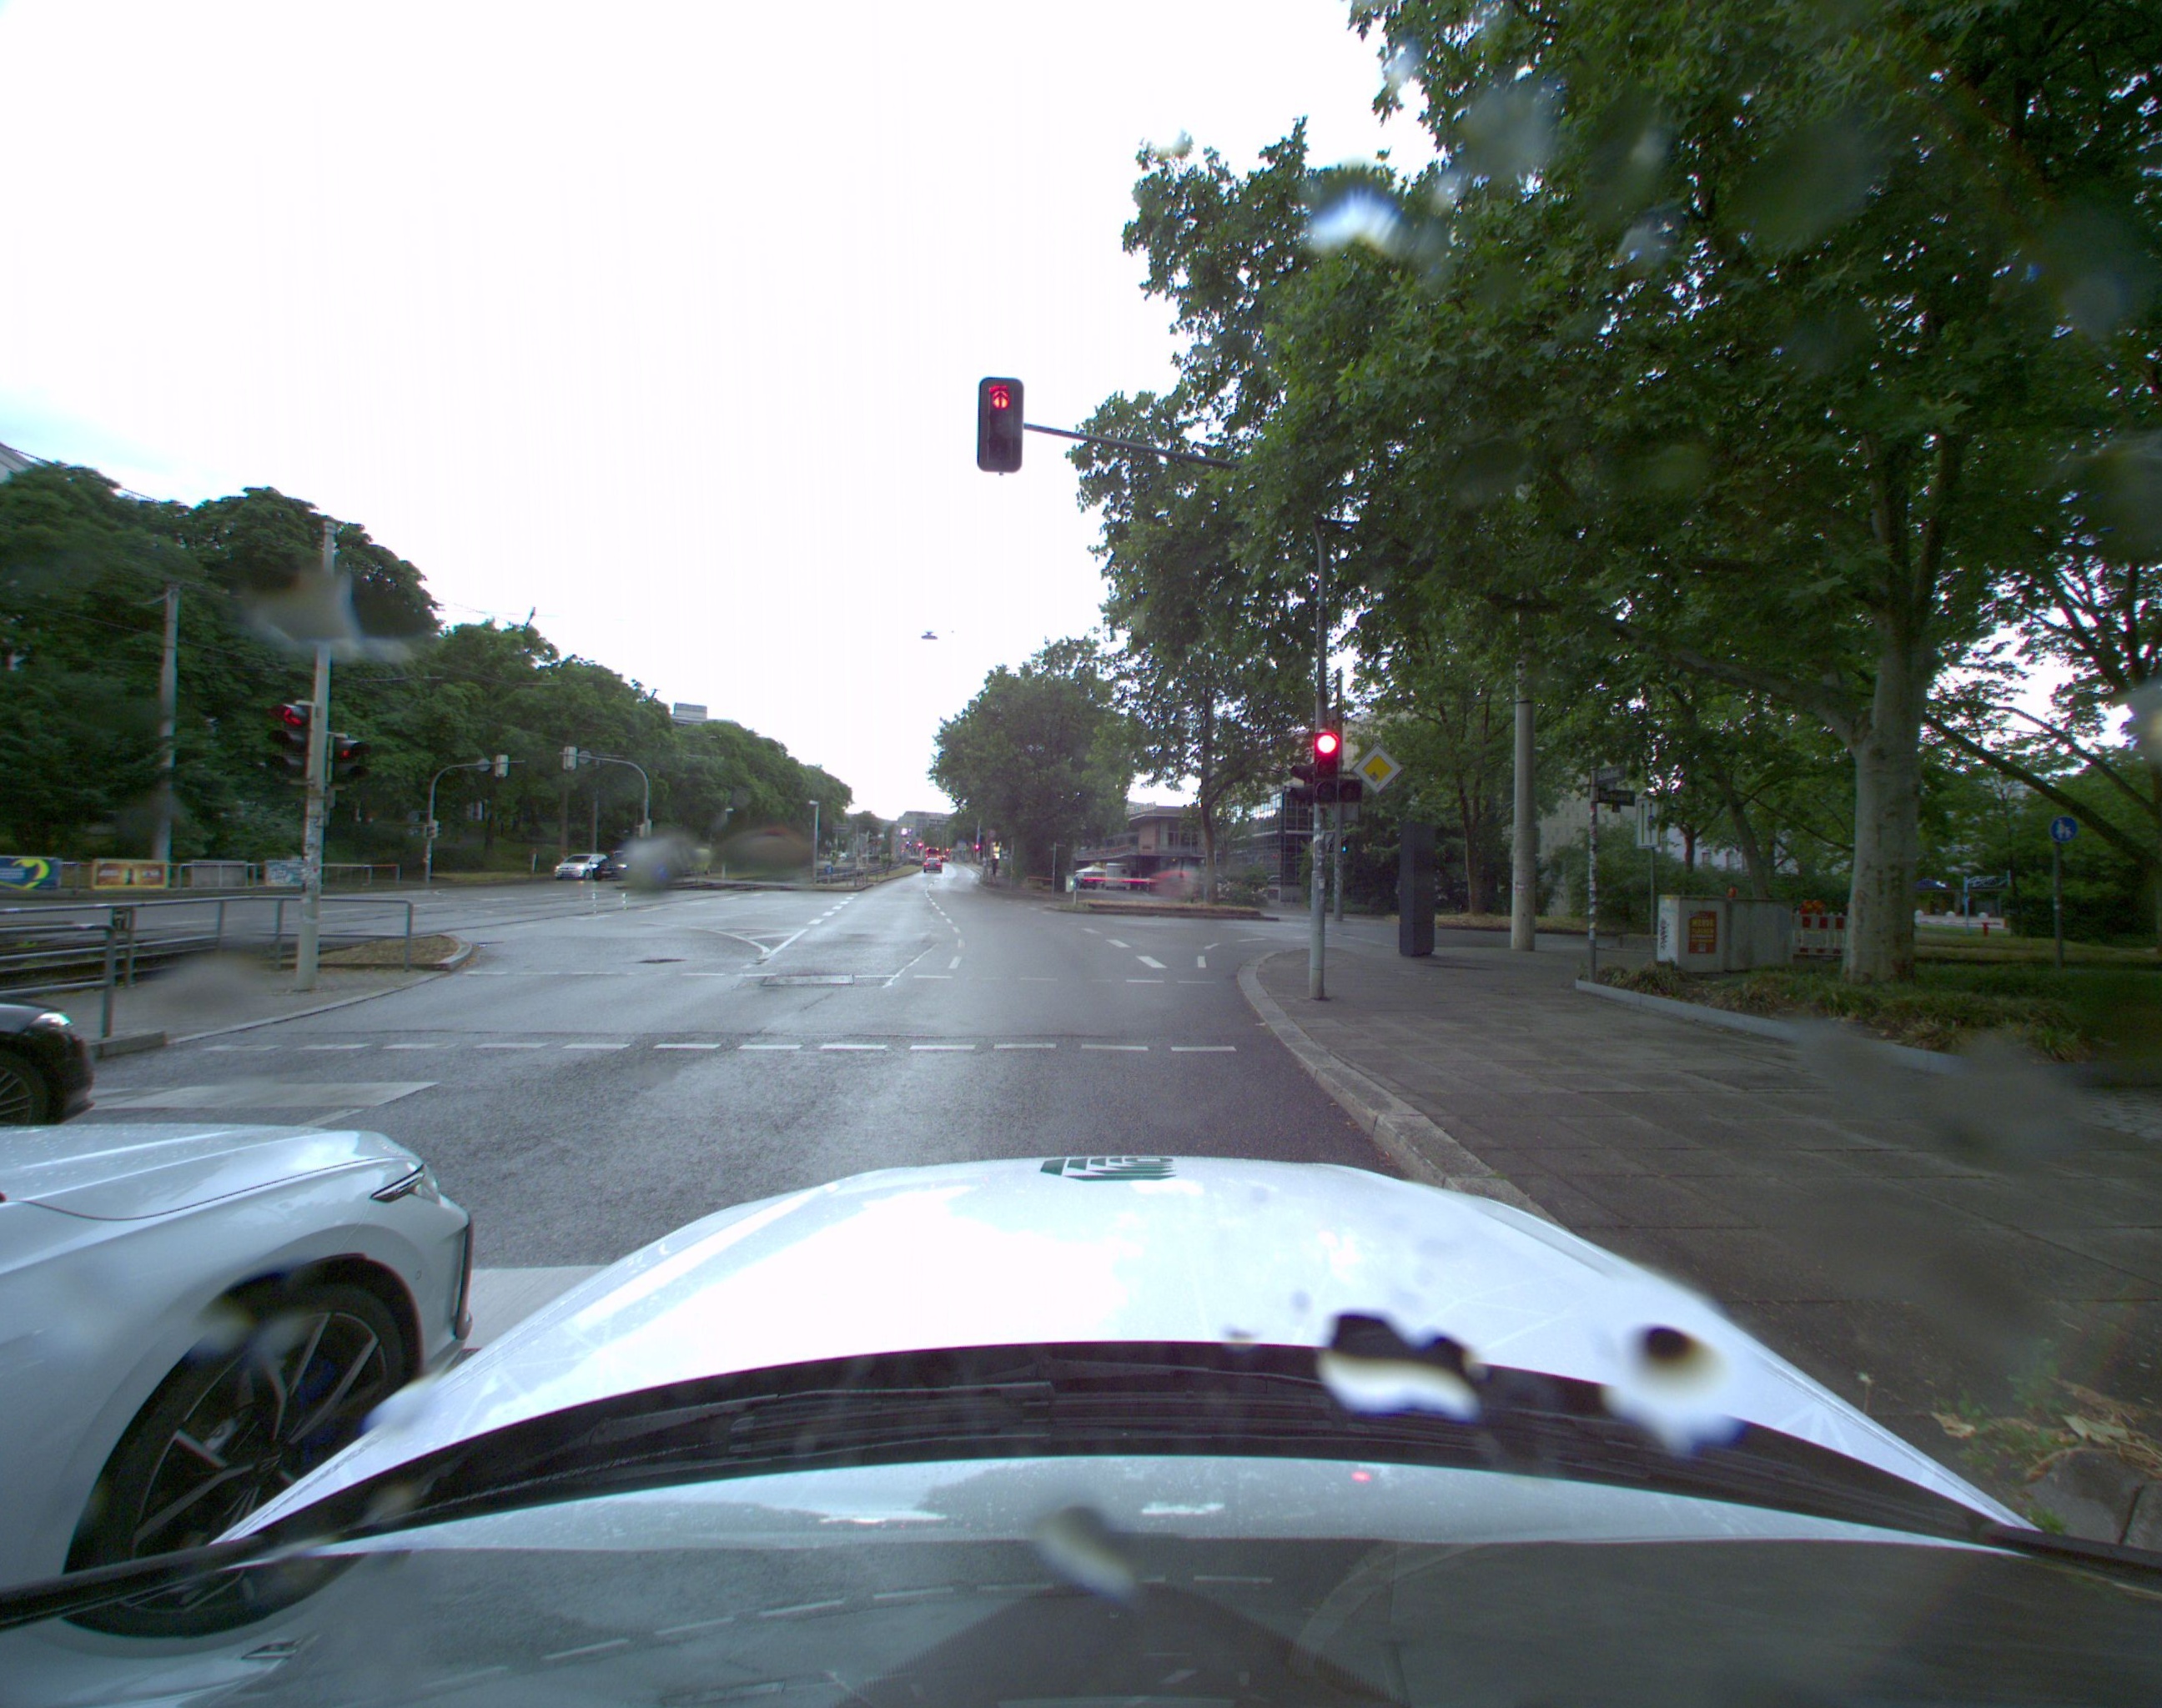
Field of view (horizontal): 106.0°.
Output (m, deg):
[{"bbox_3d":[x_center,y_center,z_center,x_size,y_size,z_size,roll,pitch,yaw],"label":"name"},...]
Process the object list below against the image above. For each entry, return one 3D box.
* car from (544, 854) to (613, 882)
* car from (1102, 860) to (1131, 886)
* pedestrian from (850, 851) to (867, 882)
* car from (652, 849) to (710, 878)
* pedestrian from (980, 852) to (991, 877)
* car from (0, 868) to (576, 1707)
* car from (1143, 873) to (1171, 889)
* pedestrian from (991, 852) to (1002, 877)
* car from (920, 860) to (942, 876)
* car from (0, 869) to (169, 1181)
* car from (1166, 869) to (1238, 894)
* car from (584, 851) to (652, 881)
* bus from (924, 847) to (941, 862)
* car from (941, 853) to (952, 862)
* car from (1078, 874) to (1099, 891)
[{"bbox_3d":[-29.014,0.825,47.116,1.917,1.546,3.674,1,-1,-5],"label":"car"},{"bbox_3d":[3.926,2.057,91.532,2.725,2.695,6.916,2,0,-2],"label":"car"},{"bbox_3d":[-13.286,0.727,48.637,0.870,1.802,0.864,2,-1,-13],"label":"pedestrian"},{"bbox_3d":[-26.584,0.633,54.314,1.917,1.851,4.558,1,-1,-5],"label":"car"},{"bbox_3d":[-7.776,0.846,66.175,0.813,2.014,1.075,0,-1,-6],"label":"pedestrian"},{"bbox_3d":[-2.527,0.752,0.292,1.789,1.442,4.477,0,0,2],"label":"car"},{"bbox_3d":[8.288,2.903,89.098,2.020,1.551,4.334,2,0,-10],"label":"car"},{"bbox_3d":[-6.932,0.838,66.519,0.873,2.014,1.075,0,-1,-6],"label":"pedestrian"},{"bbox_3d":[-14.996,1.363,81.670,1.993,1.519,4.336,0,-1,-9],"label":"car"},{"bbox_3d":[-5.976,0.793,2.245,1.789,1.442,4.477,0,0,2],"label":"car"},{"bbox_3d":[9.262,2.118,62.143,5.221,1.731,1.860,2,-1,-23],"label":"car"},{"bbox_3d":[-25.791,0.662,45.494,1.917,1.546,3.674,1,-1,-5],"label":"car"},{"bbox_3d":[-32.455,0.097,177.501,3.591,3.171,10.381,0,-1,-11],"label":"bus"},{"bbox_3d":[-30.140,0.797,182.417,2.364,1.817,5.164,0,-1,-11],"label":"car"},{"bbox_3d":[0.844,3.060,88.093,2.010,1.551,4.355,2,0,4],"label":"car"}]
